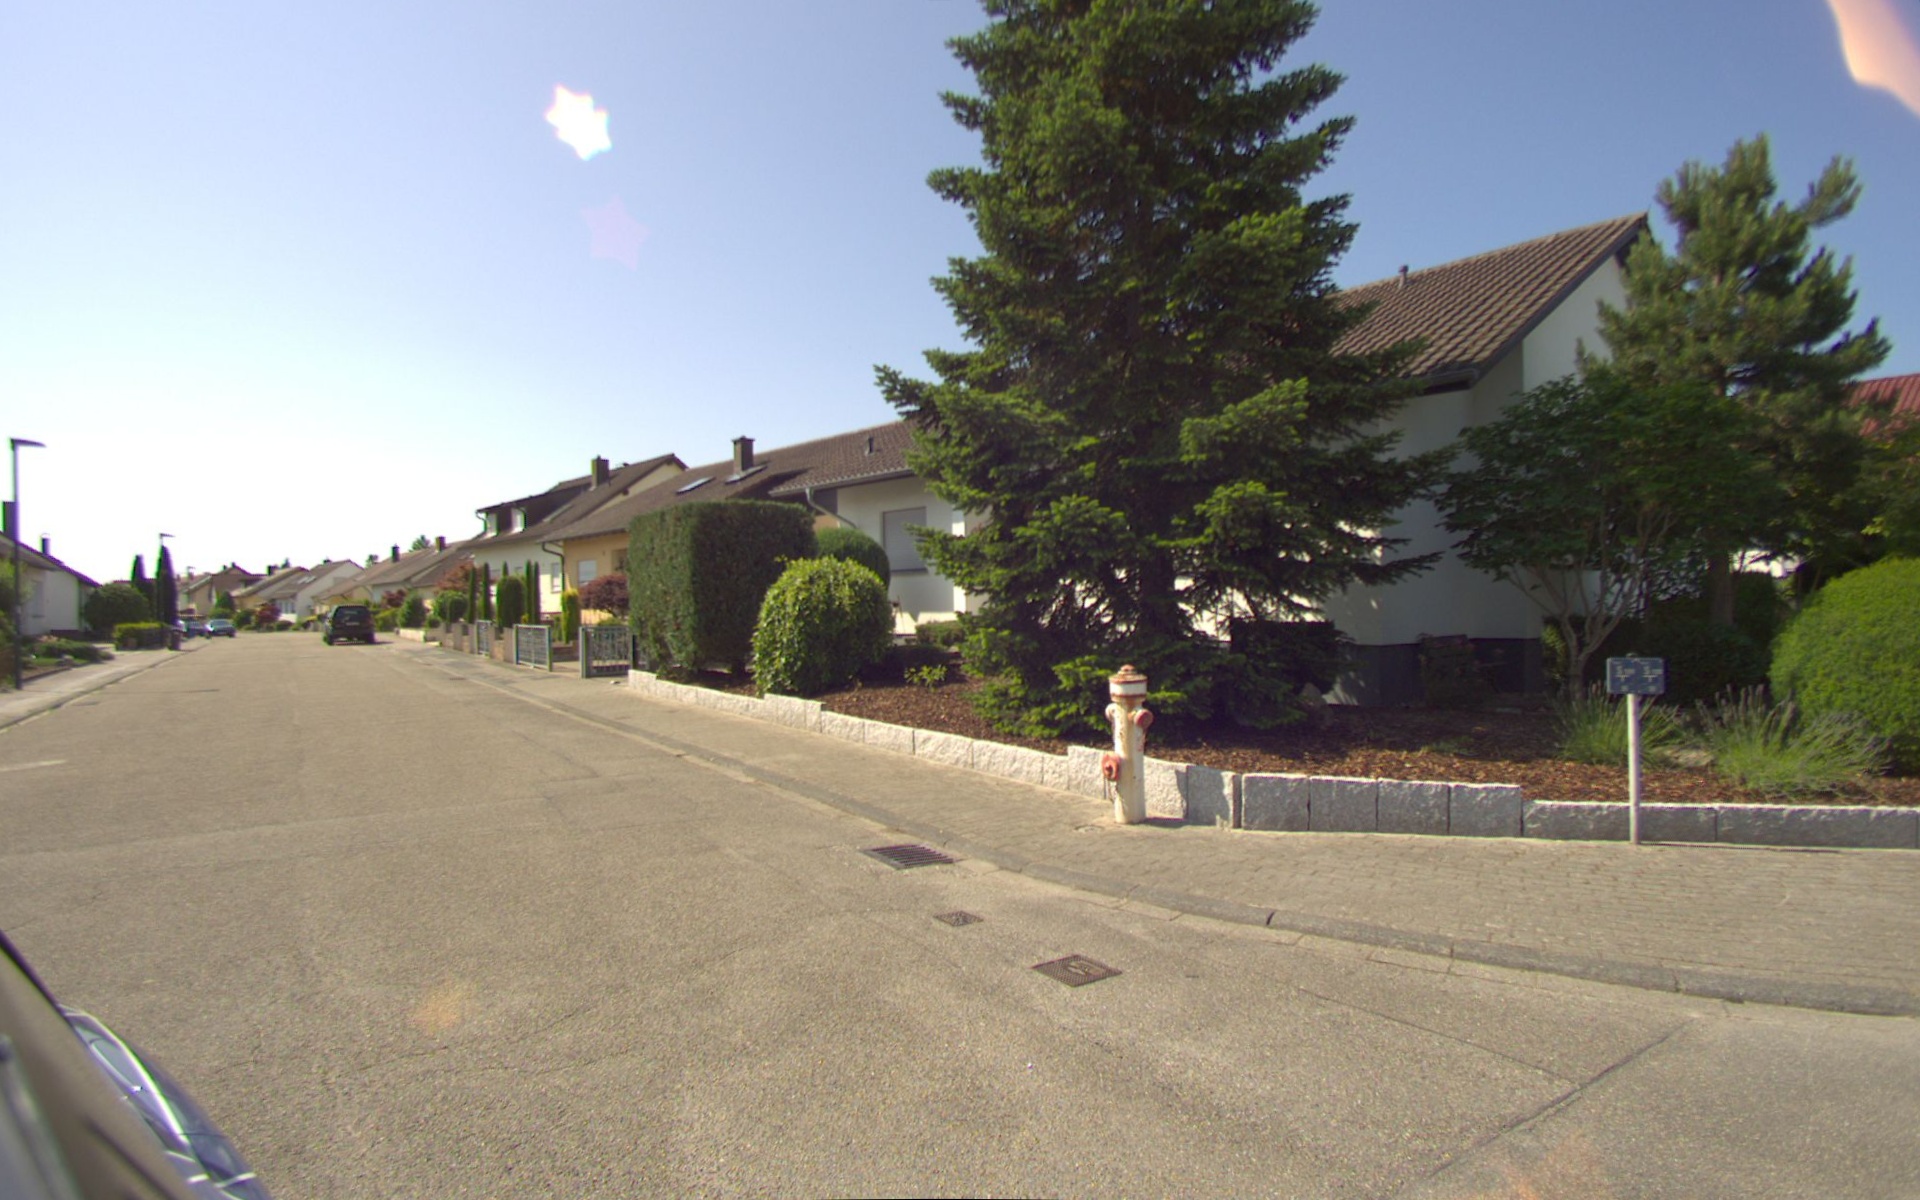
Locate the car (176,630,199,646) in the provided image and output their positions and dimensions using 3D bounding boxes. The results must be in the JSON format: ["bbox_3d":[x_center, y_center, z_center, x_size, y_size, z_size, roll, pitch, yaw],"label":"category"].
[{"bbox_3d":[-67.598,3.301,88.577,1.437,1.287,3.108,0,-1,-41],"label":"car"}]

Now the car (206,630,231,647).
[{"bbox_3d":[-58.423,3.004,79.707,1.437,1.287,3.109,0,-1,-40],"label":"car"}]

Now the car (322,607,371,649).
[{"bbox_3d":[-28.048,1.253,46.192,1.741,1.791,3.662,-1,0,-34],"label":"car"}]

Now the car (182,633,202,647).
[{"bbox_3d":[-73.858,3.847,97.344,1.436,1.287,3.109,0,-1,-39],"label":"car"}]
